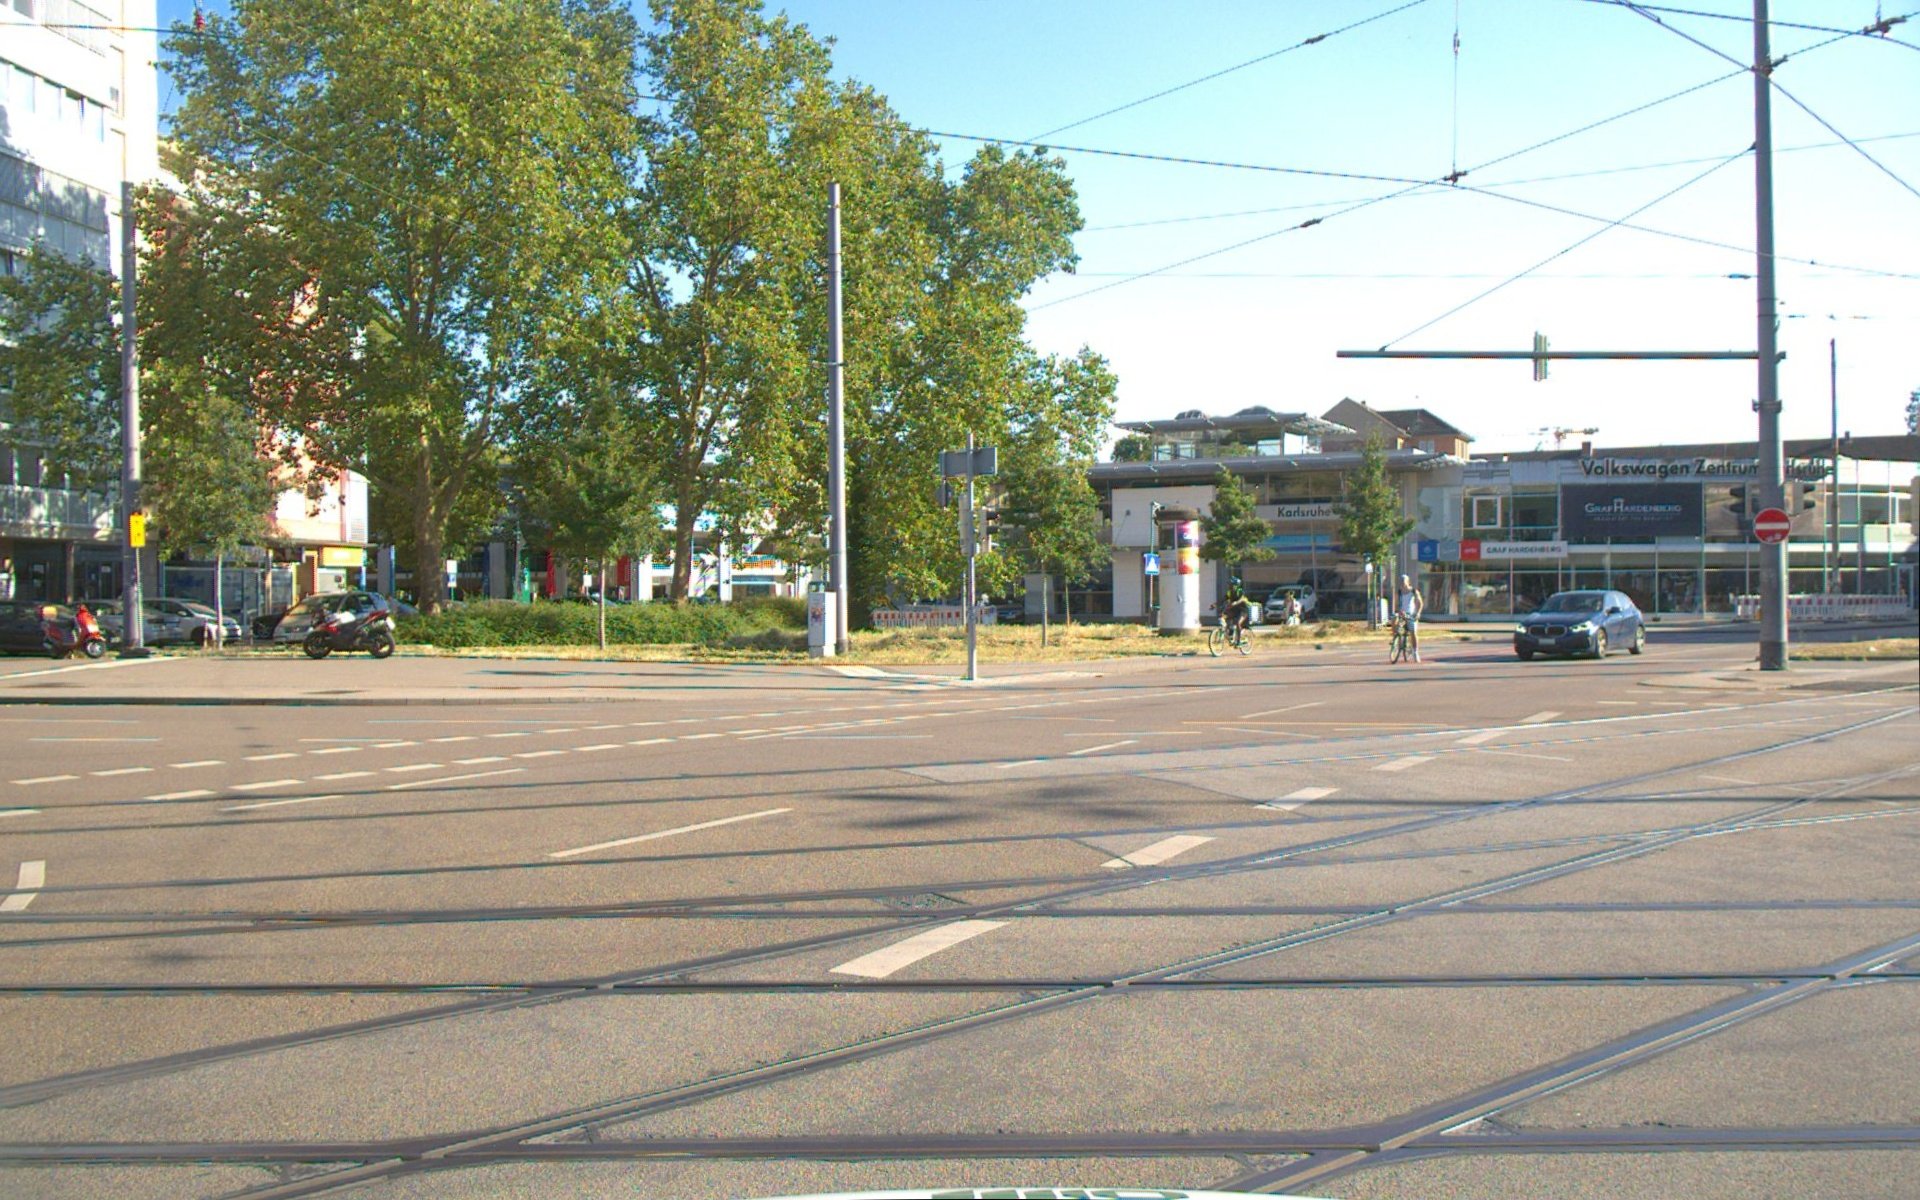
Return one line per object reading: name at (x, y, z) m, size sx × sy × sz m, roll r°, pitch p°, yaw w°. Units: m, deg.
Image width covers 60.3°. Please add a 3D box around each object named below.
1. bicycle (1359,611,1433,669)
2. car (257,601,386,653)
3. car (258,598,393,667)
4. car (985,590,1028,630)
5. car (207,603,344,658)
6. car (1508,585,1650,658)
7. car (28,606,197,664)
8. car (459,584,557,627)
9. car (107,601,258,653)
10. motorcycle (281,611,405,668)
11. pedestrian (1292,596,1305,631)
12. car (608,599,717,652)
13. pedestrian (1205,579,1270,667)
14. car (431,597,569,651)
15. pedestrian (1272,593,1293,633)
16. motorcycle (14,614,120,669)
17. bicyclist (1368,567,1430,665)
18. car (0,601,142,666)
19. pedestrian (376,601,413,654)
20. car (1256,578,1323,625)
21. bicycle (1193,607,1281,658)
bicycle at (9.432, 0.848, 35.708) m, size 1.010 × 1.143 × 2.528 m, roll -2°, pitch -1°, yaw 26°
car at (-23.024, 0.947, 59.702) m, size 3.902 × 1.663 × 1.858 m, roll 2°, pitch 1°, yaw 7°
car at (-18.084, 0.887, 47.351) m, size 1.875 × 1.727 × 4.004 m, roll -3°, pitch 1°, yaw 7°
car at (2.311, 0.477, 82.856) m, size 1.758 × 1.535 × 4.000 m, roll 2°, pitch 5°, yaw -3°
car at (-23.330, 1.021, 56.447) m, size 3.902 × 1.663 × 1.858 m, roll 2°, pitch 1°, yaw 7°
car at (13.567, 0.432, 36.116) m, size 1.960 × 1.478 × 3.986 m, roll -1°, pitch 0°, yaw 35°
car at (-24.115, 0.980, 47.118) m, size 3.902 × 1.444 × 1.858 m, roll 2°, pitch 1°, yaw 7°
car at (-20.926, 0.260, 76.663) m, size 3.902 × 1.811 × 1.858 m, roll 2°, pitch 1°, yaw 7°
car at (-24.589, 0.831, 52.357) m, size 3.902 × 1.444 × 1.858 m, roll 2°, pitch 1°, yaw 7°
motorcycle at (-12.796, 0.815, 34.367) m, size 2.232 × 1.092 × 1.039 m, roll -1°, pitch 1°, yaw -9°
pedestrian at (12.985, 0.523, 63.445) m, size 0.402 × 1.338 × 0.573 m, roll -1°, pitch 0°, yaw 15°
car at (-11.951, 1.008, 66.563) m, size 3.903 × 1.901 × 1.858 m, roll 2°, pitch 1°, yaw 5°
pedestrian at (6.697, 0.538, 39.902) m, size 1.014 × 2.048 × 1.264 m, roll 3°, pitch 1°, yaw 38°
car at (-13.808, 0.698, 49.859) m, size 3.920 × 1.536 × 1.794 m, roll 0°, pitch 2°, yaw -14°
pedestrian at (12.398, 0.503, 63.618) m, size 0.706 × 1.542 × 0.832 m, roll -1°, pitch 0°, yaw 15°
motorcycle at (-19.149, 0.886, 35.504) m, size 1.760 × 1.064 × 0.881 m, roll -2°, pitch 1°, yaw 4°
bicyclist at (9.485, 0.337, 35.730) m, size 1.011 × 2.049 × 1.143 m, roll -2°, pitch -1°, yaw 27°
car at (-24.457, 0.880, 44.359) m, size 4.125 × 1.508 × 1.858 m, roll 2°, pitch 1°, yaw 4°
pedestrian at (-19.705, 0.947, 57.659) m, size 0.865 × 1.767 × 0.905 m, roll 2°, pitch 1°, yaw 9°
car at (15.229, 0.038, 76.339) m, size 1.955 × 2.048 × 3.995 m, roll 2°, pitch 1°, yaw 27°
bicycle at (6.706, 0.757, 39.906) m, size 1.014 × 1.143 × 2.520 m, roll 3°, pitch 2°, yaw 38°
